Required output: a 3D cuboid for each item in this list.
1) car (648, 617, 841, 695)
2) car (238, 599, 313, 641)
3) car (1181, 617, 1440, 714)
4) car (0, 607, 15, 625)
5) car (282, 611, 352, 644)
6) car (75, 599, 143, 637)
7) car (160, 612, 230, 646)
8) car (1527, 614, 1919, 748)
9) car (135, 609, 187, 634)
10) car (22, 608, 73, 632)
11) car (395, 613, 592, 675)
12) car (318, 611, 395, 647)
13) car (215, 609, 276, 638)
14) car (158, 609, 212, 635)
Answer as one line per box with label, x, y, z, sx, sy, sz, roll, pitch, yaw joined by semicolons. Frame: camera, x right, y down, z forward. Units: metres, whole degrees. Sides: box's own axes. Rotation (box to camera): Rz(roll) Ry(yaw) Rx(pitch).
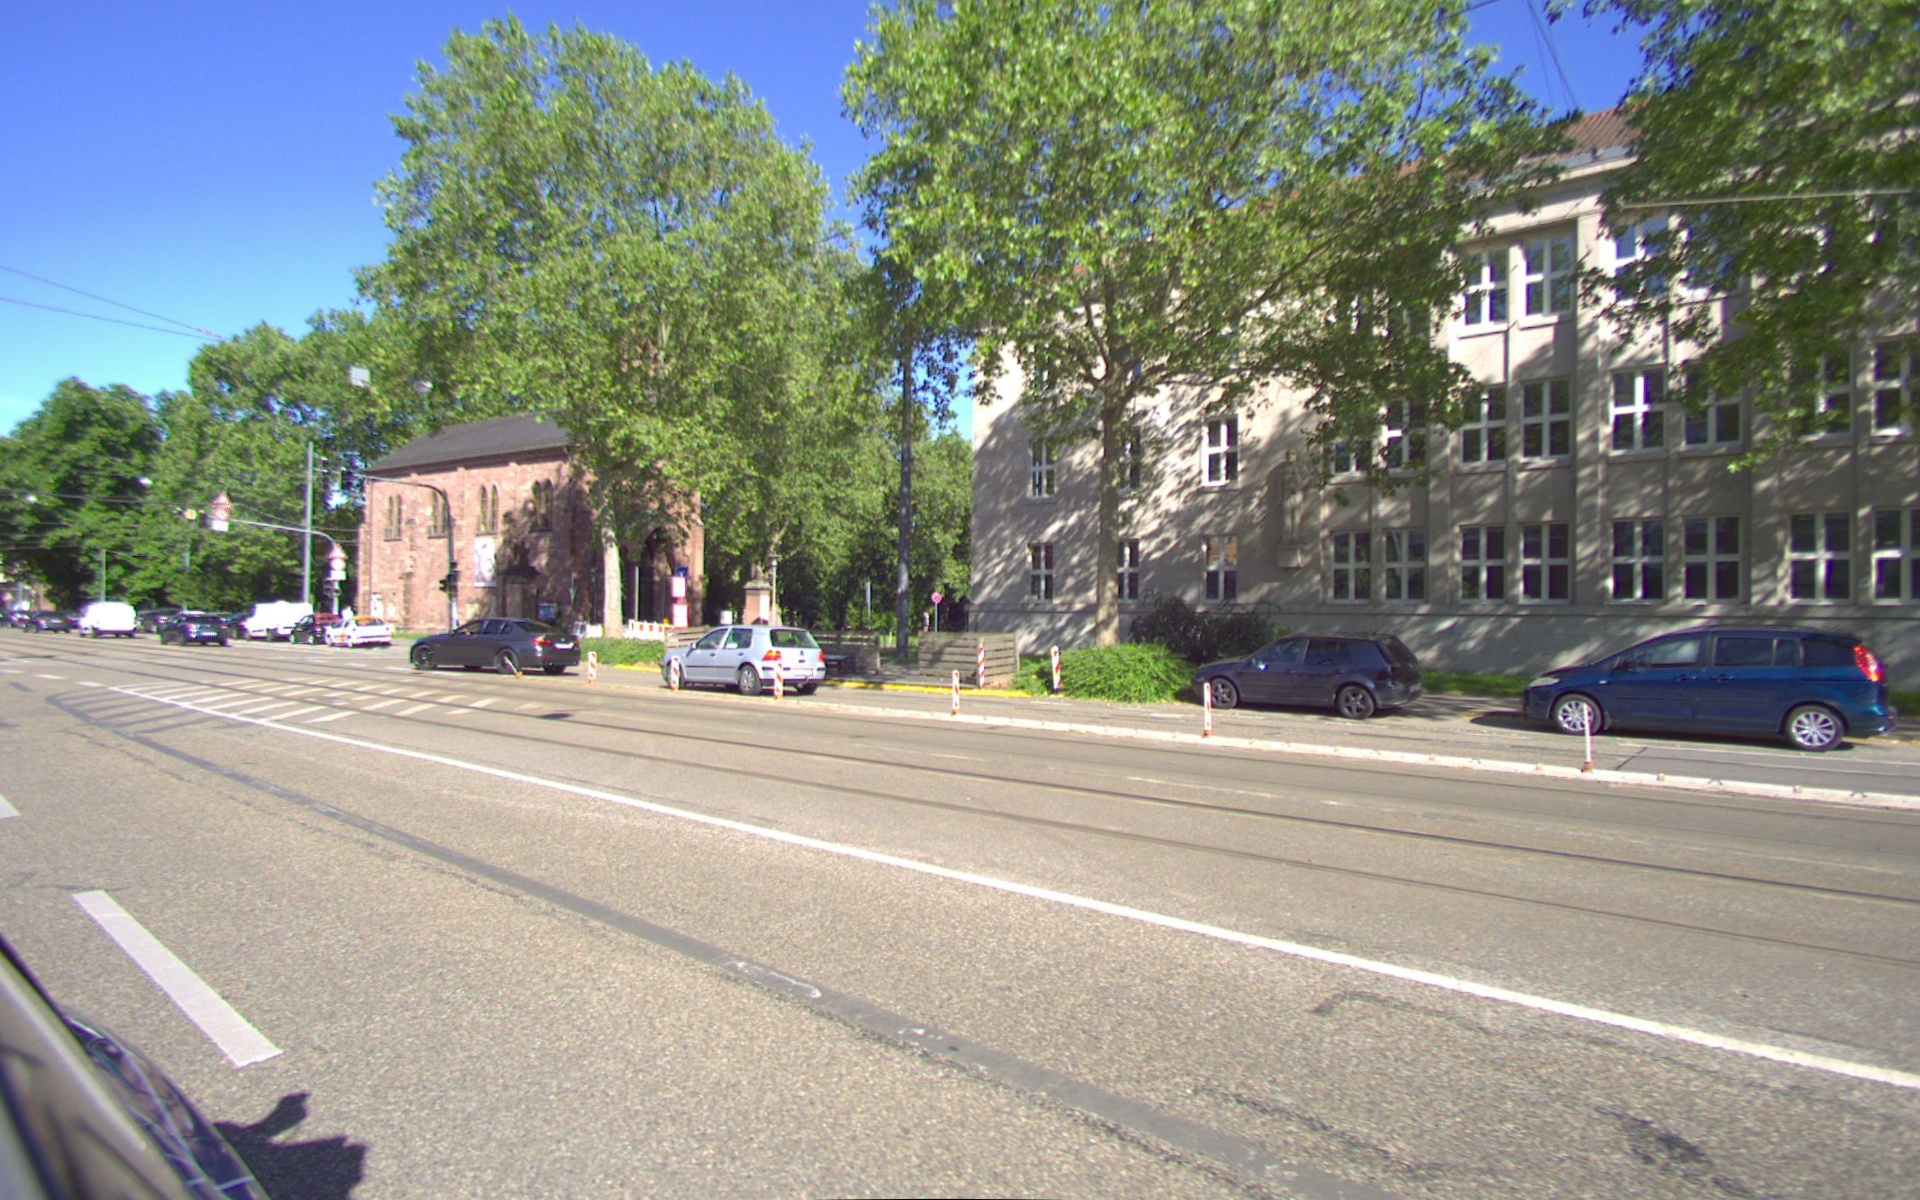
car;-4.604;1.126;21.321;4.168;1.464;1.811;0;-3;41
car;-35.976;1.048;53.169;4.586;2.113;1.898;0;-2;38
car;6.328;1.117;18.486;4.182;1.559;1.656;0;-2;37
car;-84.263;1.406;88.545;4.303;1.563;1.773;0;-2;39
car;-31.927;1.345;50.210;3.856;1.563;1.773;0;-2;39
car;-46.314;0.979;55.035;4.514;1.905;2.040;0;-3;40
car;-34.228;1.255;45.244;4.085;1.422;1.600;0;0;40
car;10.850;1.046;14.685;4.388;1.651;1.813;0;-2;37
car;-52.157;1.369;66.027;4.303;1.563;1.773;0;-2;39
car;-58.505;1.272;64.871;4.372;1.440;1.775;0;-2;39
car;-12.422;1.142;26.953;4.925;1.464;1.823;1;-2;21
car;-28.052;1.361;47.018;3.670;1.586;1.758;-1;-3;37
car;-40.066;1.315;56.721;3.856;1.563;1.773;0;-2;39
car;-48.577;1.369;63.411;4.303;1.563;1.773;0;-2;39
